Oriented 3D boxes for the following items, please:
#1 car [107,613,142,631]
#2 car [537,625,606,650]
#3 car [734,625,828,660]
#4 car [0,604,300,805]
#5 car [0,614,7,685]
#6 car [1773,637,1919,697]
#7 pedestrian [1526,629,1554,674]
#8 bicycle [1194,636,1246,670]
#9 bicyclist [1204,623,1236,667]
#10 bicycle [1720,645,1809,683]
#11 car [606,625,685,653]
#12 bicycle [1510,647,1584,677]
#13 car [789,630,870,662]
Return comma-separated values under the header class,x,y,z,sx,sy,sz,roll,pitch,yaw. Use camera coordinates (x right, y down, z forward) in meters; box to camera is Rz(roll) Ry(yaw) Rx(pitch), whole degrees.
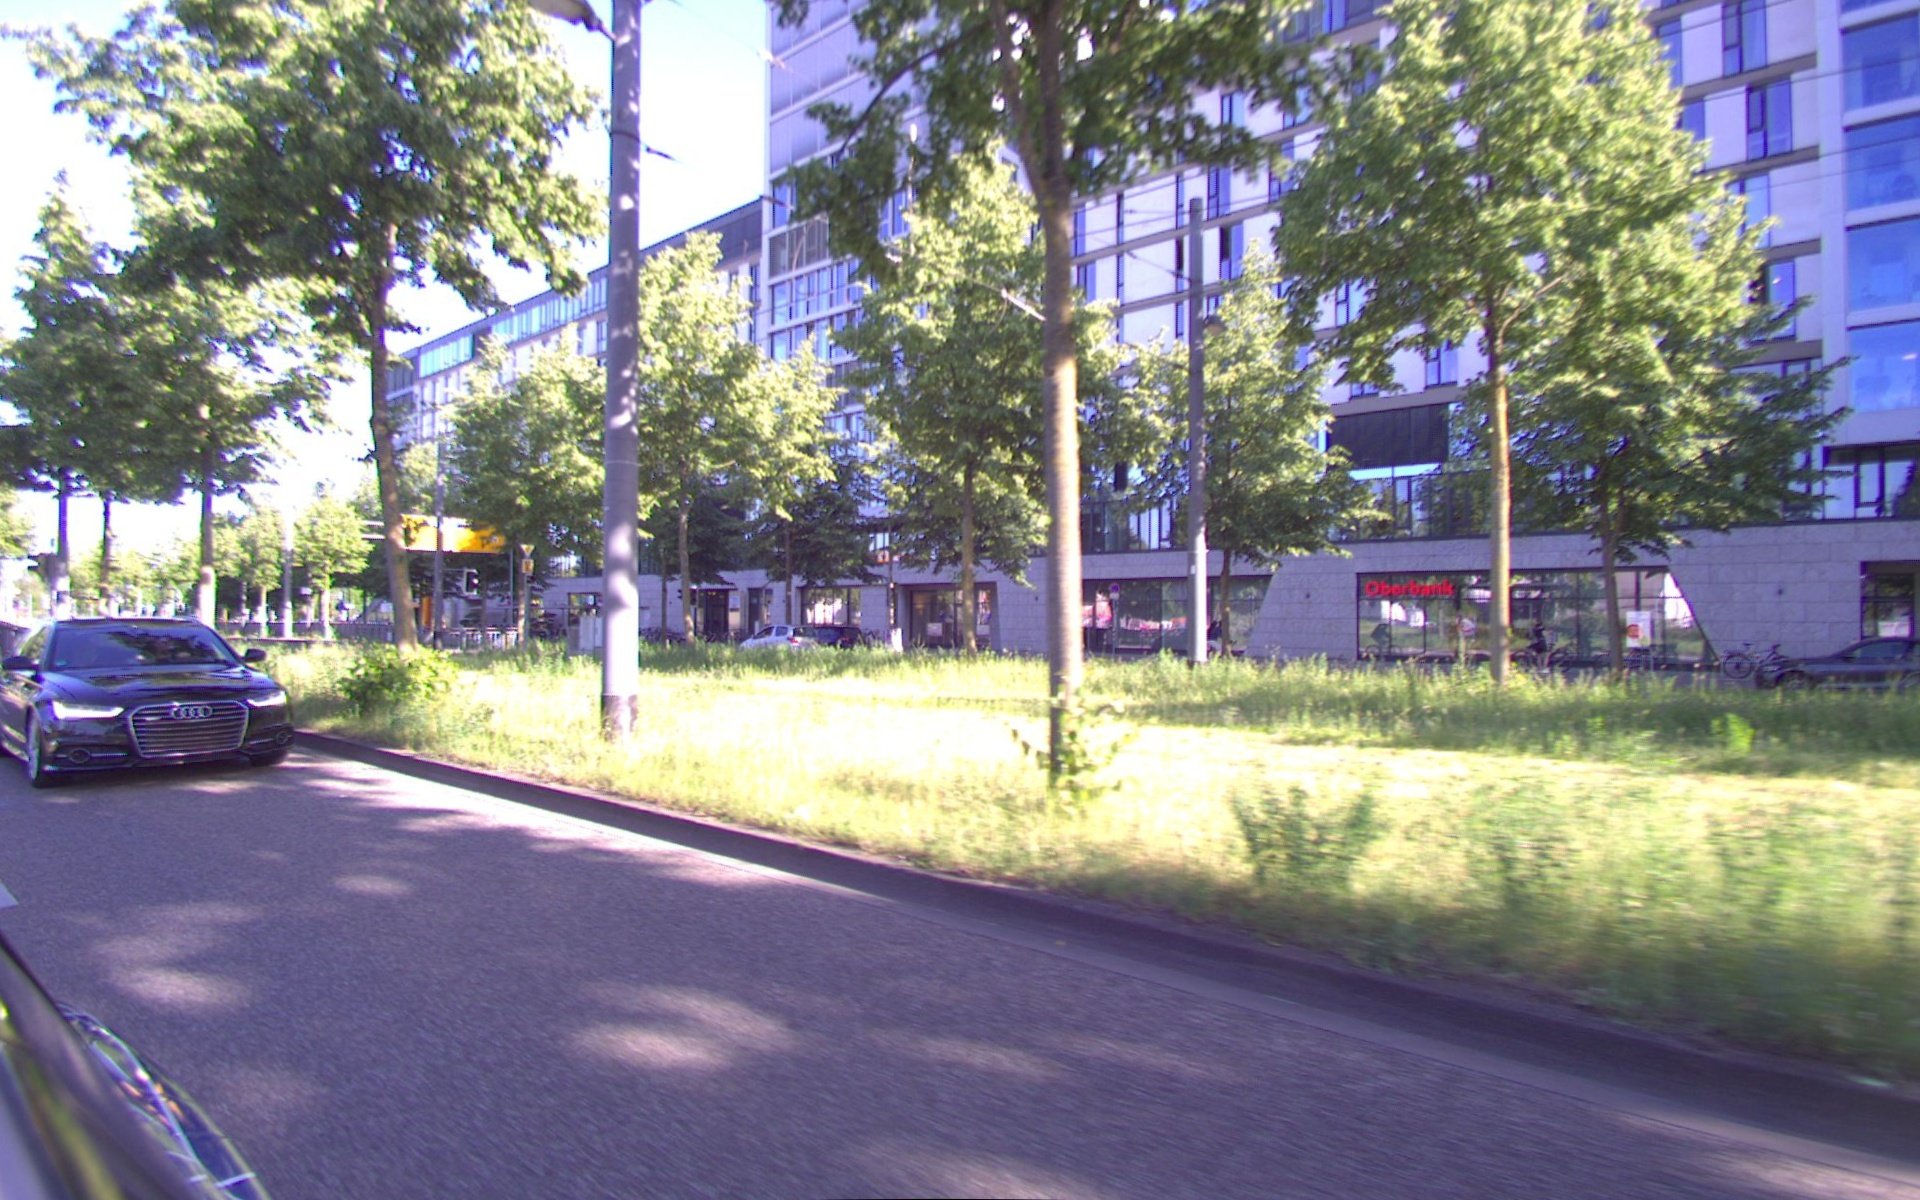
class,x,y,z,sx,sy,sz,roll,pitch,yaw
car,-83.249,2.214,100.791,4.225,1.763,1.973,-1,-3,41
car,-23.118,2.197,60.155,4.543,1.431,1.938,-1,-2,41
car,-6.880,1.586,38.710,3.482,1.247,1.751,-1,-2,40
car,-8.243,0.842,9.958,4.599,1.538,1.765,-1,-1,41
car,-23.739,1.120,23.516,4.525,1.581,1.825,-1,-2,41
car,20.185,1.439,22.249,3.580,1.217,1.651,-1,-2,40
pedestrian,18.604,1.647,32.471,0.690,1.423,0.403,1,-1,41
bicycle,8.910,1.799,34.745,1.571,1.128,0.724,-2,-2,43
bicyclist,8.932,1.534,34.731,0.832,1.475,0.712,-2,-2,43
bicycle,23.195,1.827,29.209,1.981,0.979,0.536,1,-1,41
car,-16.928,2.075,54.436,4.543,1.431,1.978,-1,-2,41
bicycle,18.995,1.987,32.760,2.013,0.888,0.536,0,-1,41
car,-5.815,2.016,44.960,3.463,1.244,1.633,1,-1,41
